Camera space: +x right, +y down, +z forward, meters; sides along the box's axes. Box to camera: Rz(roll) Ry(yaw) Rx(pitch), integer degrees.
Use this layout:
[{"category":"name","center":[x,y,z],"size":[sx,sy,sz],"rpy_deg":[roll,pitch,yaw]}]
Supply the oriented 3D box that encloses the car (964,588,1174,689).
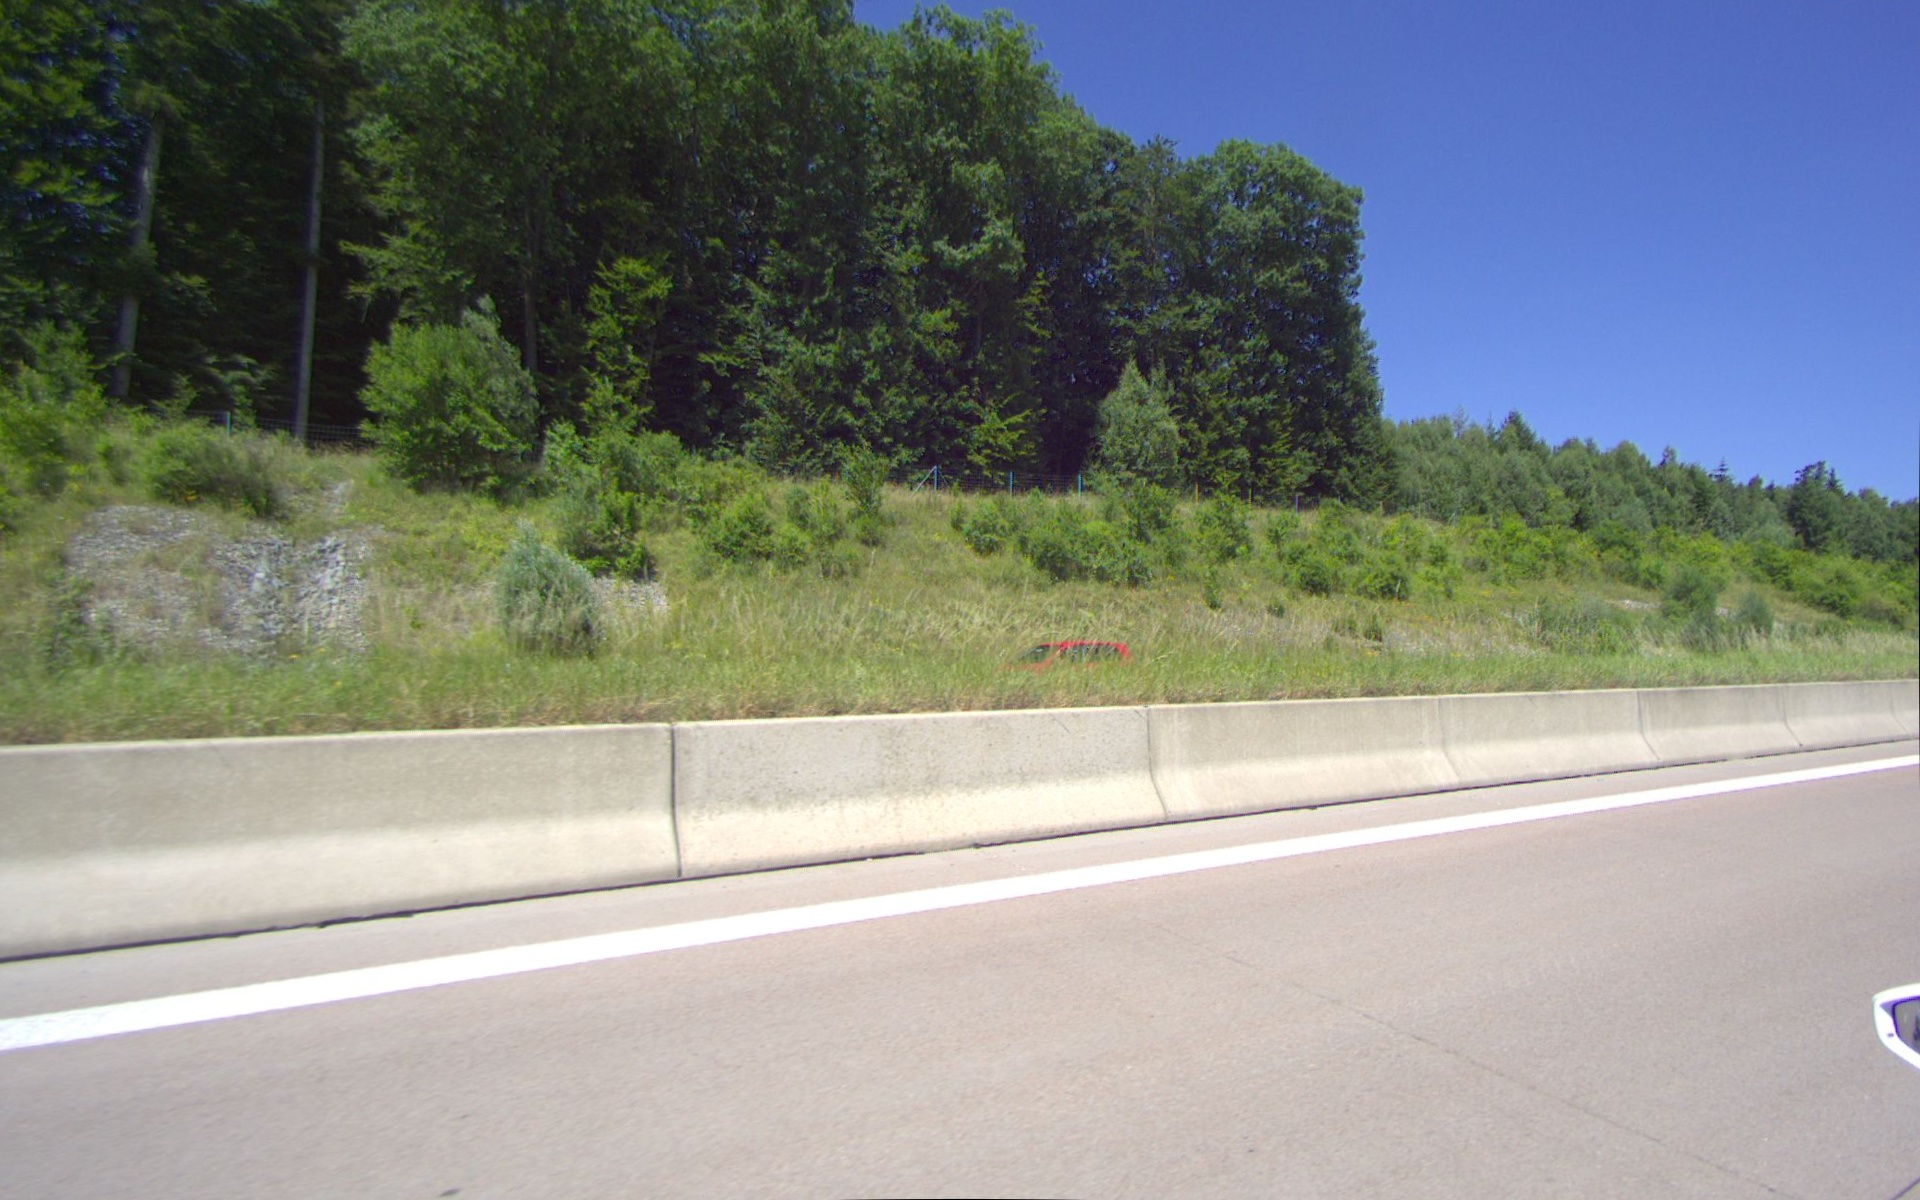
[{"category":"car","center":[2.533,0.819,22.919],"size":[4.612,2.092,1.880],"rpy_deg":[1,0,-33]}]
